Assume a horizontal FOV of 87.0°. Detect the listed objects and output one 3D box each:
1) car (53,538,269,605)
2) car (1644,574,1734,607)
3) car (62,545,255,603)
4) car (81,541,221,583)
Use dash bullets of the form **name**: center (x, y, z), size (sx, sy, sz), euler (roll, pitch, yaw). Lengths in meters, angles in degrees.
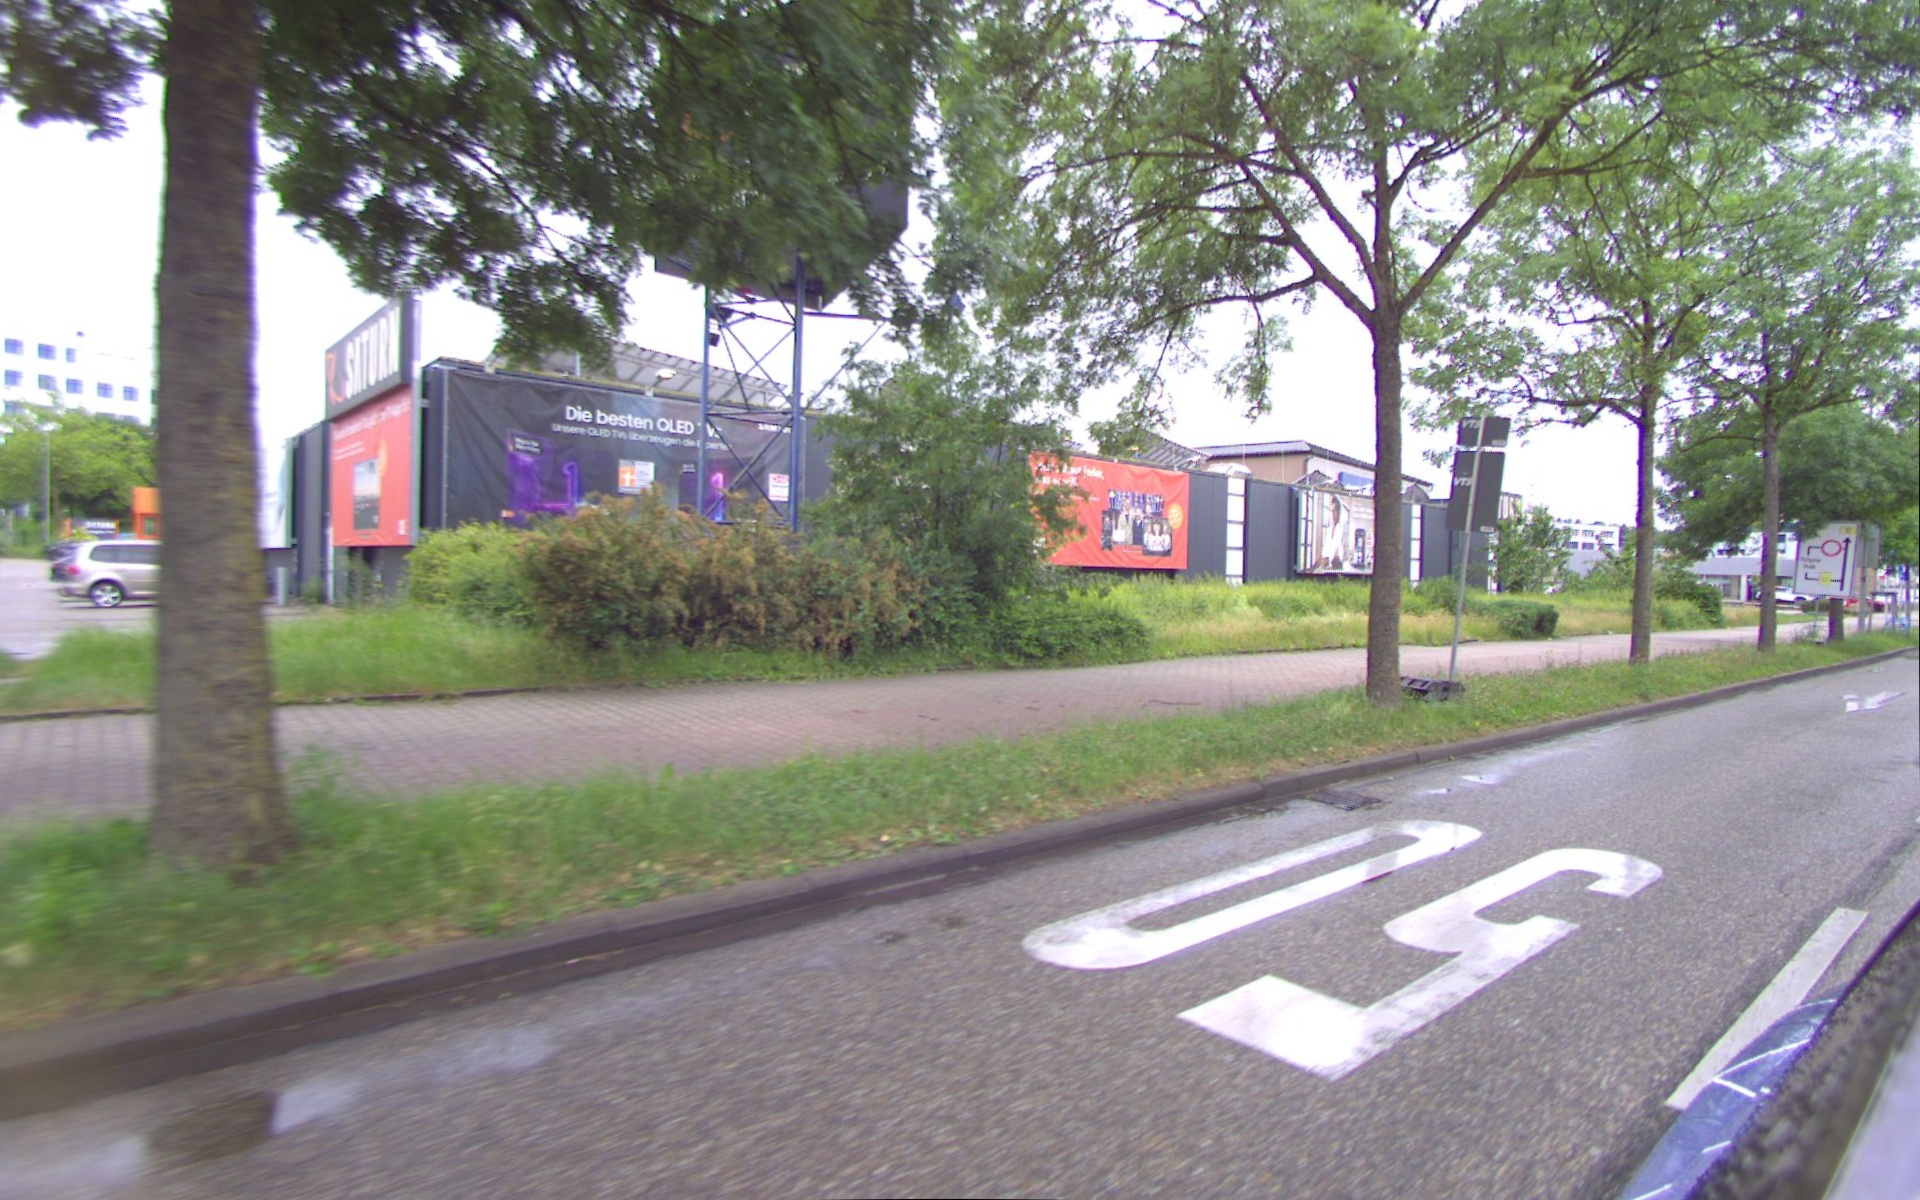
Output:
- **car**: center (-20.723, -0.720, 26.352), size (4.291, 1.593, 1.906), euler (0, 2, -44)
- **car**: center (50.638, -0.706, 70.376), size (4.939, 2.038, 1.973), euler (4, 3, 38)
- **car**: center (-23.398, -0.744, 29.639), size (4.291, 1.593, 1.906), euler (0, 2, -44)
- **car**: center (-32.624, -1.492, 40.869), size (4.291, 1.593, 1.906), euler (0, 2, -44)
